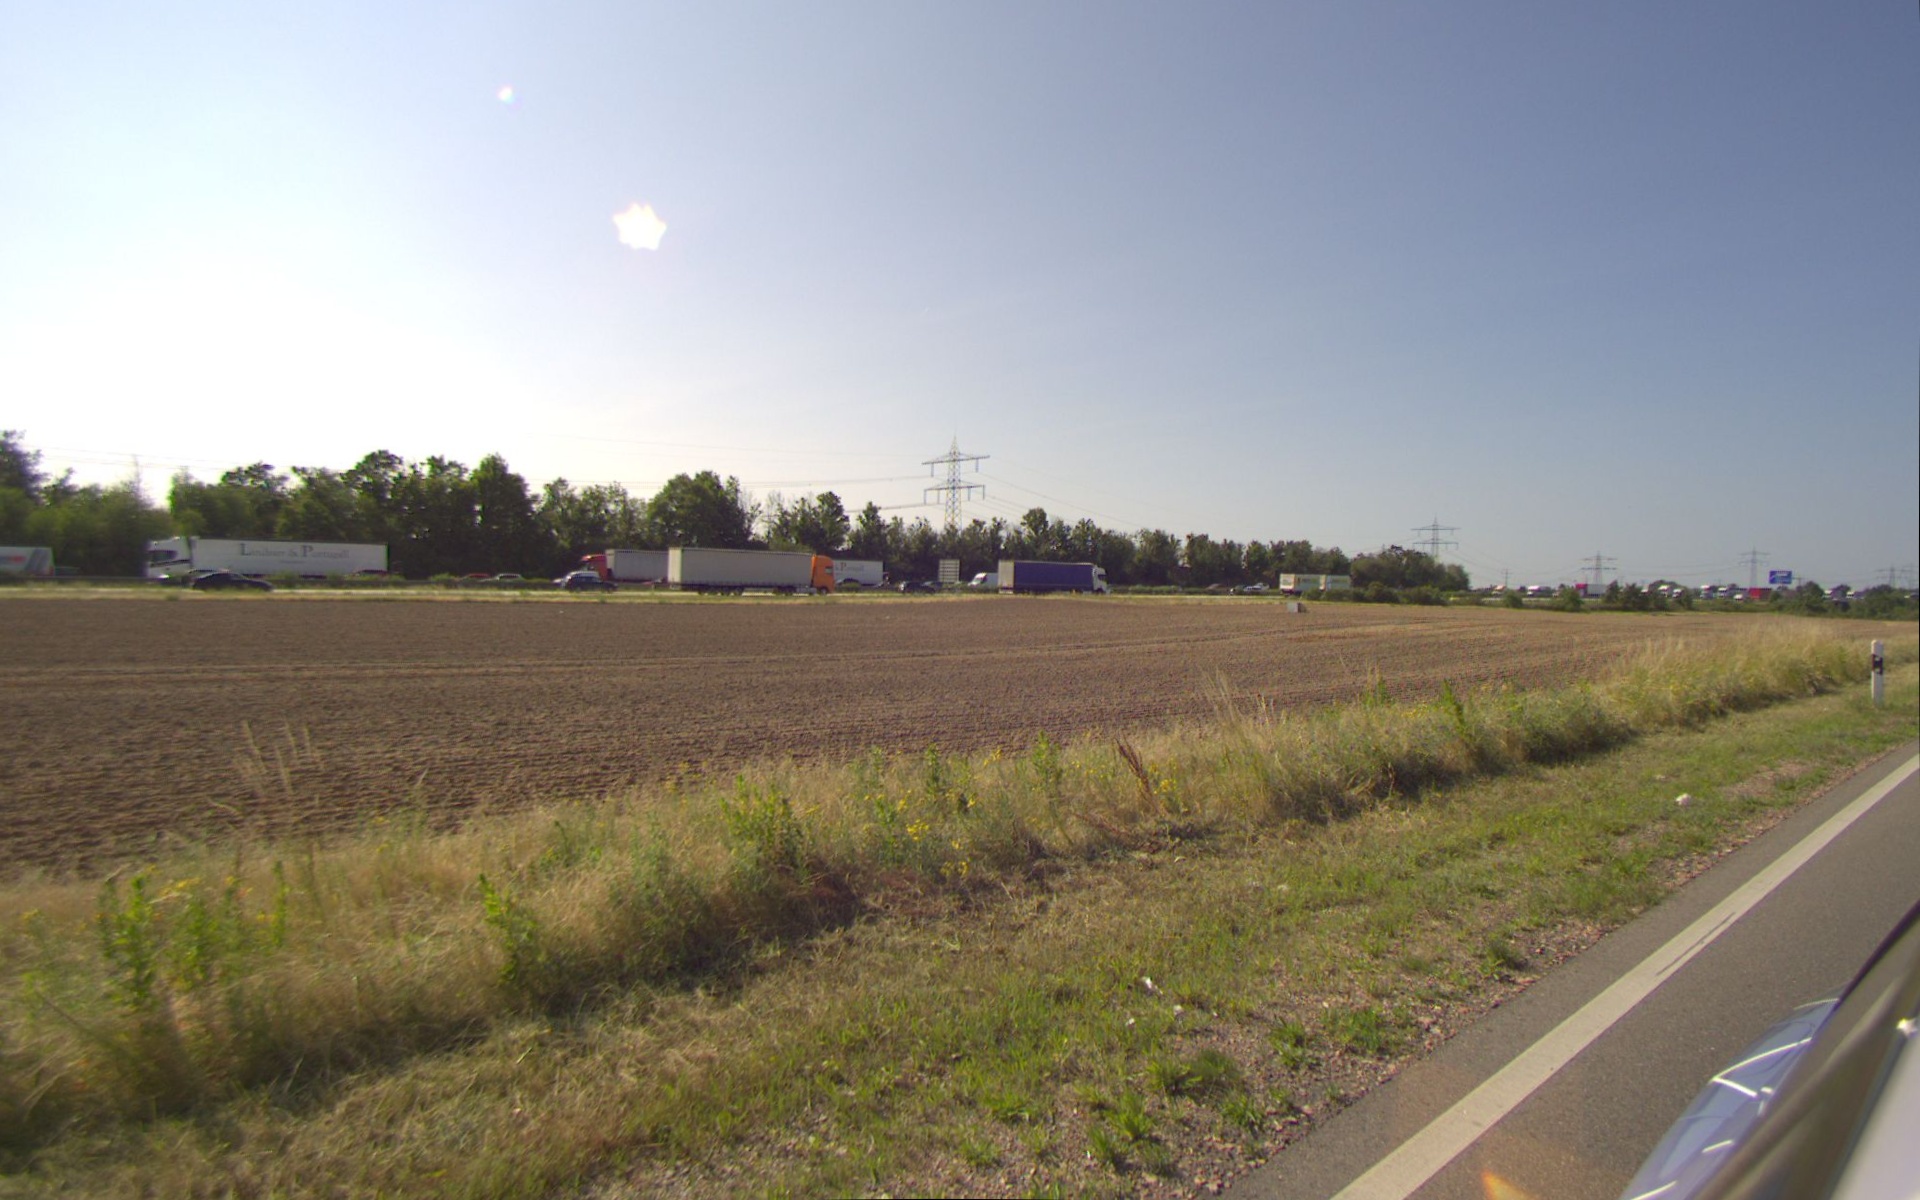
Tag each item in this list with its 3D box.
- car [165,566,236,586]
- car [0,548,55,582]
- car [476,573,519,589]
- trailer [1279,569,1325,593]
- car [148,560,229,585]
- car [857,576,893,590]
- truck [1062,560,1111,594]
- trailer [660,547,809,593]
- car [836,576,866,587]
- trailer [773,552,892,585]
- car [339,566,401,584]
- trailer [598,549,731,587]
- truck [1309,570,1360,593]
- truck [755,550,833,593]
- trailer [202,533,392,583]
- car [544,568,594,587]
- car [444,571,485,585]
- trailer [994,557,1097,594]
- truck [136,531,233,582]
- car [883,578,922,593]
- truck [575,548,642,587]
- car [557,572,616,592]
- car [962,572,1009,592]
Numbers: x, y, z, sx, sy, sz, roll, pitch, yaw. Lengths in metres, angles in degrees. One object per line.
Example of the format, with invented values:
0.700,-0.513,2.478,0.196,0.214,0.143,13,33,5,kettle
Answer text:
-57.600,-1.771,76.808,4.173,1.403,1.853,1,0,-41,car
-65.093,-2.388,68.852,5.146,2.228,1.908,1,-1,-41,car
-41.216,-1.686,90.203,3.236,1.300,1.342,0,0,-43,car
52.633,-2.902,155.430,8.567,3.458,2.798,0,1,-42,trailer
-50.421,-1.759,66.187,4.123,1.563,1.706,0,0,-41,car
-9.973,-2.004,118.453,4.022,1.528,1.706,0,0,-41,car
15.348,-2.756,122.892,5.515,3.850,3.076,1,0,-42,truck
-20.441,-2.662,92.676,13.478,3.897,3.109,0,0,-41,trailer
-12.308,-2.092,114.568,3.236,1.234,1.342,0,1,-43,car
-14.977,-3.681,120.665,14.821,3.575,3.208,0,2,-41,trailer
-49.011,-2.063,84.065,4.173,1.403,1.853,1,0,-41,car
-31.081,-3.296,107.118,13.541,3.780,2.950,0,1,-41,trailer
59.919,-2.870,161.866,10.927,3.521,2.810,0,1,-42,truck
-15.825,-2.655,96.715,6.829,3.897,3.109,0,0,-41,truck
-55.599,-3.394,85.269,13.128,3.780,3.078,0,1,-40,trailer
-36.317,-2.070,94.147,4.023,1.659,1.705,0,0,-42,car
-46.198,-2.032,94.436,3.235,1.234,1.342,0,0,-42,car
10.209,-2.767,118.179,14.341,3.850,3.076,1,0,-42,trailer
-61.506,-3.390,80.313,6.008,3.780,3.078,0,1,-40,truck
-6.190,-1.593,109.725,3.825,1.595,1.997,0,0,-40,car
-35.792,-3.299,103.030,5.767,3.780,2.951,0,1,-41,truck
-32.253,-1.564,87.421,4.393,1.633,1.910,0,0,-39,car
3.271,-2.314,130.124,6.300,2.478,2.041,0,0,-40,car
